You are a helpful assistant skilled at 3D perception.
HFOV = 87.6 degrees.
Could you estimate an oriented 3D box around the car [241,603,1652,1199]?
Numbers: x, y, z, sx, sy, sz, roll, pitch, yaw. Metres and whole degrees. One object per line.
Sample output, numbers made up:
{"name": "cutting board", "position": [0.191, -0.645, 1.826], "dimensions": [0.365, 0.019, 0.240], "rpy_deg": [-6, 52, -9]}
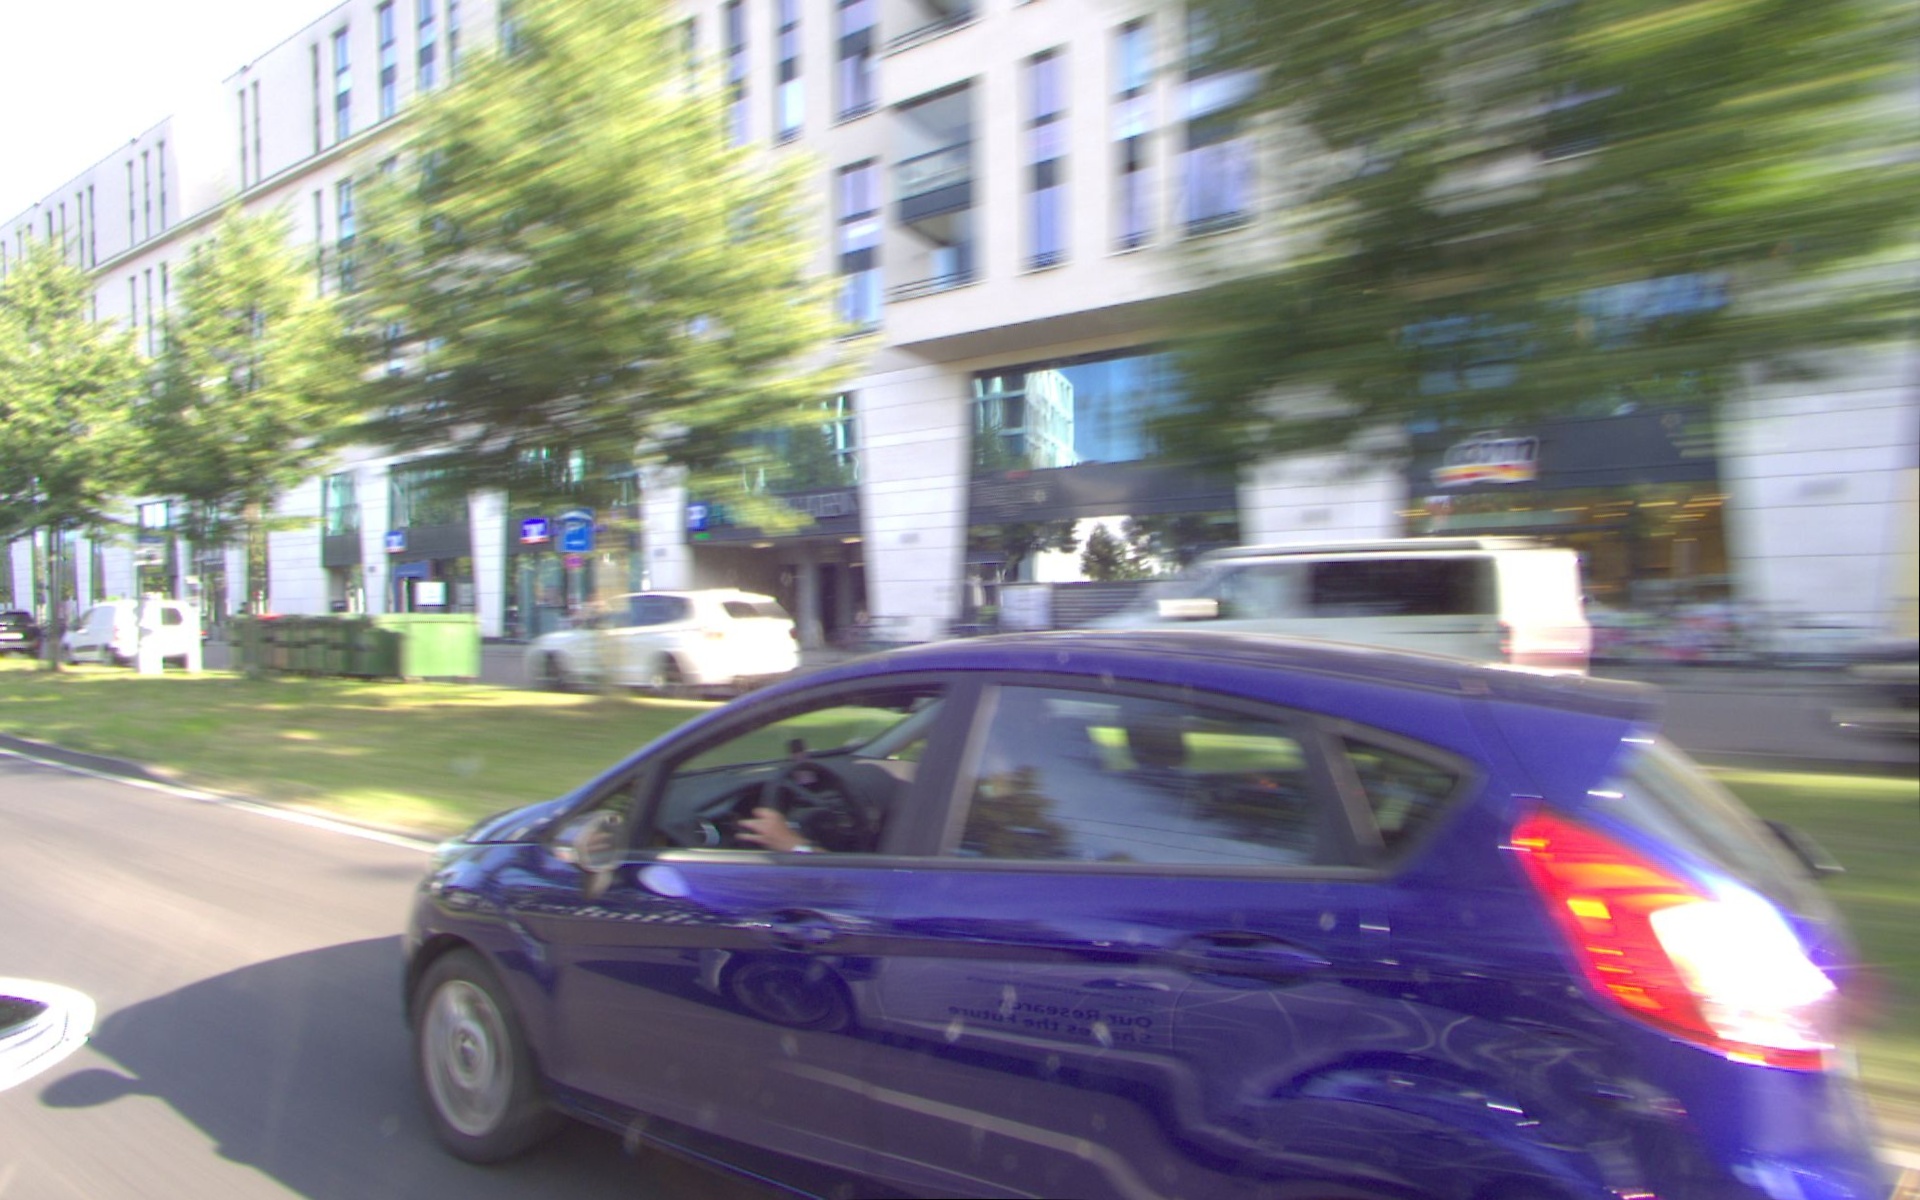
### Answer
{"name": "car", "position": [-0.345, 0.788, 2.964], "dimensions": [3.851, 1.442, 1.558], "rpy_deg": [-1, -2, 32]}

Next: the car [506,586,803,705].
{"name": "car", "position": [-4.932, 0.662, 15.941], "dimensions": [4.777, 1.651, 1.728], "rpy_deg": [-1, 0, 30]}

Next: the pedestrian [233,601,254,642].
{"name": "pedestrian", "position": [-31.421, 0.945, 43.894], "dimensions": [0.637, 1.785, 0.536], "rpy_deg": [-1, -2, 32]}

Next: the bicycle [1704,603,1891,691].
{"name": "bicycle", "position": [11.547, 0.647, 13.845], "dimensions": [2.068, 1.115, 0.420], "rpy_deg": [-2, 3, 8]}

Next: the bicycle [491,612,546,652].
{"name": "bicycle", "position": [-12.936, 0.925, 29.327], "dimensions": [1.917, 1.131, 0.490], "rpy_deg": [-1, 0, 33]}

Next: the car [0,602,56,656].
{"name": "car", "position": [-32.541, 0.954, 33.660], "dimensions": [4.608, 1.730, 1.895], "rpy_deg": [0, -2, 31]}

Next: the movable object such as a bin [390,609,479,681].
{"name": "movable object such as a bin", "position": [-9.722, 0.828, 18.498], "dimensions": [1.383, 1.252, 1.329], "rpy_deg": [1, -2, -31]}

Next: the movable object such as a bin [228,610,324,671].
{"name": "movable object such as a bin", "position": [-14.454, 0.858, 21.174], "dimensions": [1.173, 1.252, 1.276], "rpy_deg": [-1, -2, 29]}

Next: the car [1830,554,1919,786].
{"name": "car", "position": [8.985, 0.498, 6.902], "dimensions": [4.279, 1.671, 1.725], "rpy_deg": [-1, -2, 33]}

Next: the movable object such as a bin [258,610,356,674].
{"name": "movable object such as a bin", "position": [-13.389, 0.857, 20.549], "dimensions": [1.173, 1.252, 1.276], "rpy_deg": [-1, -2, 29]}

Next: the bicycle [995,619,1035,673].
{"name": "bicycle", "position": [1.134, 0.949, 20.894], "dimensions": [0.342, 1.088, 1.511], "rpy_deg": [1, -2, -16]}

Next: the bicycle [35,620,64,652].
{"name": "bicycle", "position": [-46.482, 1.852, 51.105], "dimensions": [2.244, 1.590, 0.554], "rpy_deg": [-1, -2, 33]}

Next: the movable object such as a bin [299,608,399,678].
{"name": "movable object such as a bin", "position": [-12.154, 0.859, 19.931], "dimensions": [1.173, 1.334, 1.276], "rpy_deg": [-1, -2, 29]}

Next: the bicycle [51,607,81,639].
{"name": "bicycle", "position": [-44.339, 1.154, 49.666], "dimensions": [2.182, 1.587, 0.554], "rpy_deg": [-1, -2, 33]}

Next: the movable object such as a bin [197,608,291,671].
{"name": "movable object such as a bin", "position": [-15.603, 0.857, 21.834], "dimensions": [1.160, 1.308, 1.276], "rpy_deg": [-1, -2, 29]}

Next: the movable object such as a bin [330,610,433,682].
{"name": "movable object such as a bin", "position": [-11.059, 0.881, 19.168], "dimensions": [1.173, 1.318, 1.276], "rpy_deg": [-1, -2, 29]}

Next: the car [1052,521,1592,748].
{"name": "car", "position": [3.590, 0.363, 10.443], "dimensions": [4.956, 1.900, 1.836], "rpy_deg": [-1, -2, 30]}

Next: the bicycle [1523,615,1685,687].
{"name": "bicycle", "position": [9.634, 0.752, 15.055], "dimensions": [2.015, 1.014, 0.417], "rpy_deg": [-1, 3, 33]}

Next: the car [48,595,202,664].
{"name": "car", "position": [-22.573, 0.813, 27.050], "dimensions": [4.232, 1.733, 1.826], "rpy_deg": [-1, -2, 30]}
